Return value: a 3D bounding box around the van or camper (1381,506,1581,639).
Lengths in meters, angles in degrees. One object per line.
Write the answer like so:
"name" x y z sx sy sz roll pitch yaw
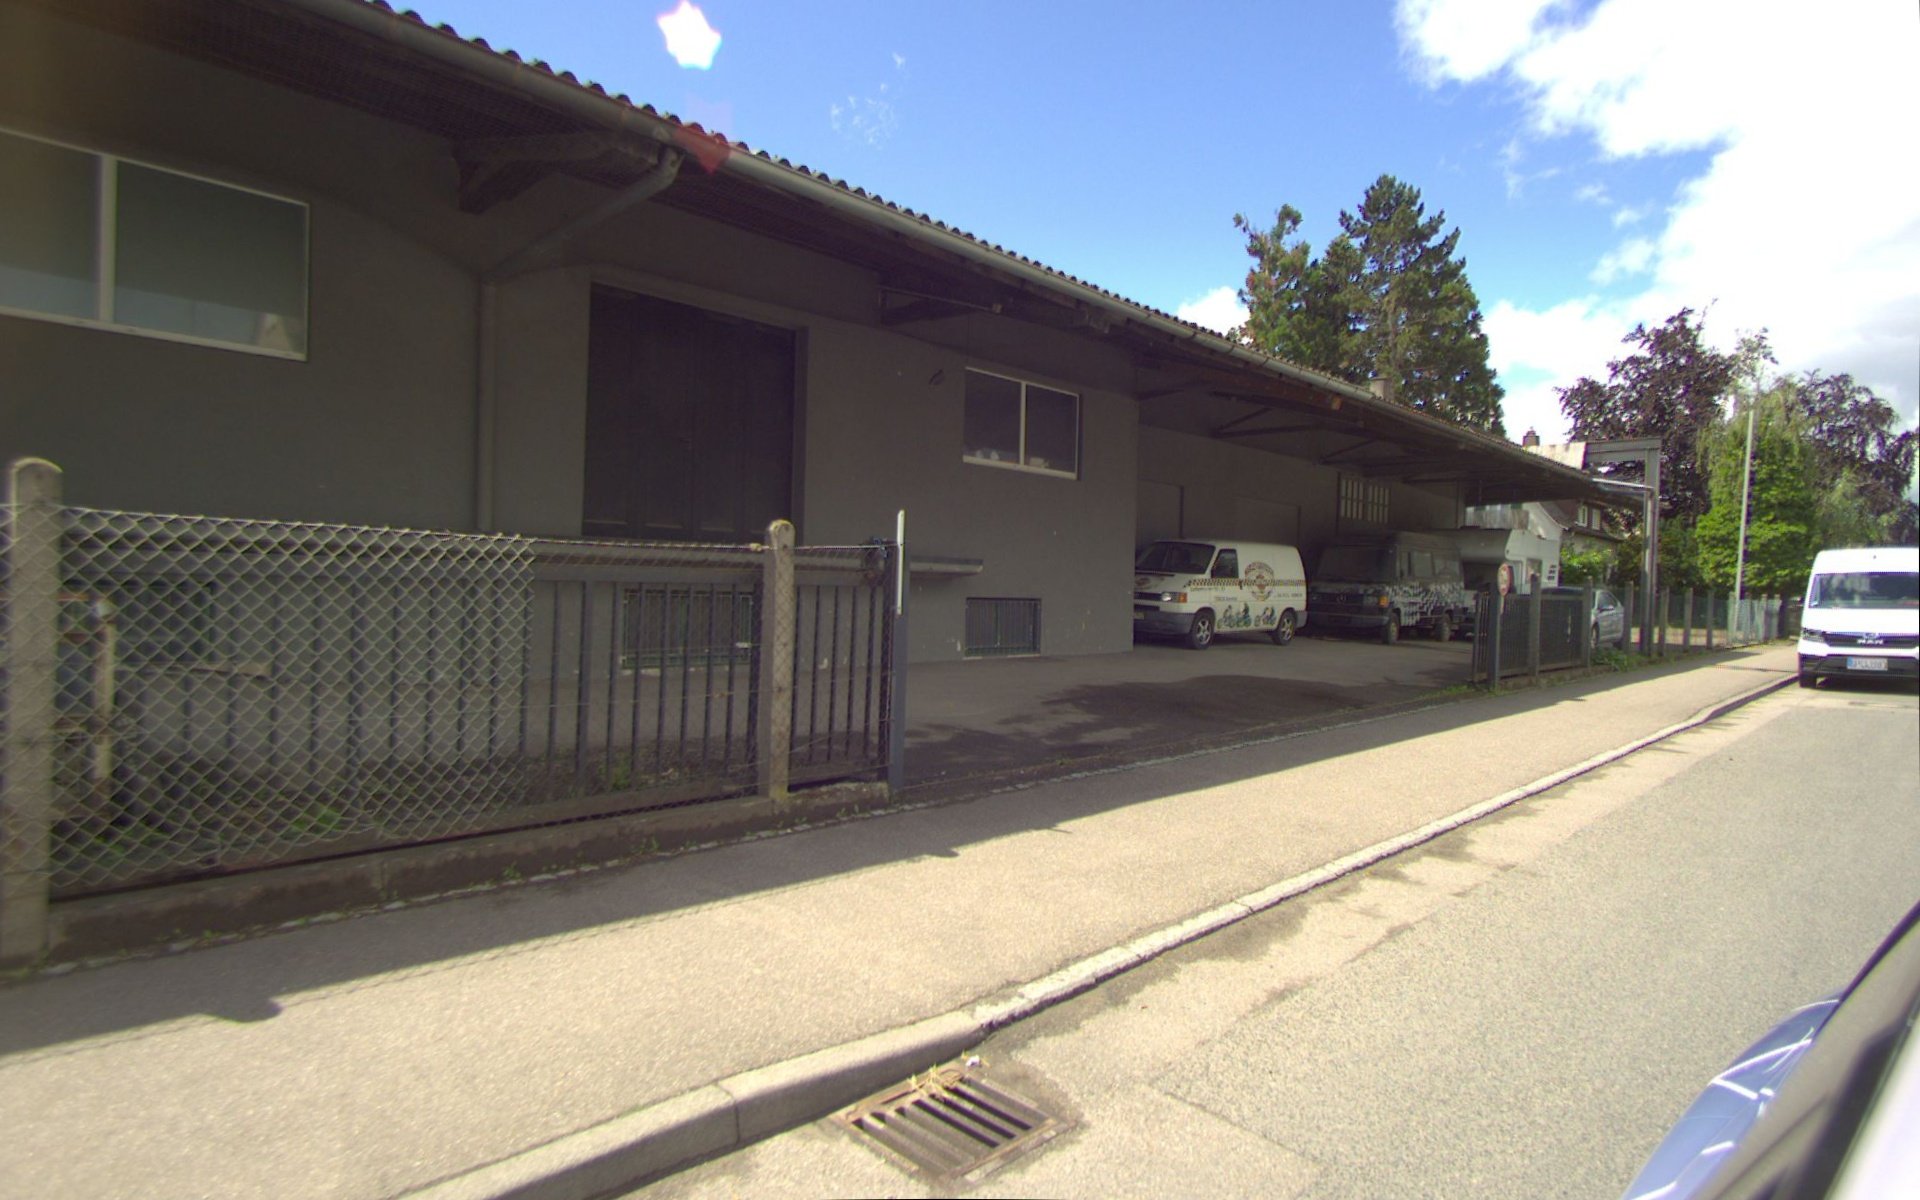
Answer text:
"van or camper" 14.106 -0.696 27.141 2.882 3.099 6.803 2 2 44

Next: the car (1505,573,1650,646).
"car" 14.524 0.209 23.672 4.845 1.508 1.766 1 1 -45

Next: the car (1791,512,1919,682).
"car" 17.400 -0.074 18.953 2.216 2.722 6.551 3 2 44

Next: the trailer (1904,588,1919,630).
"trailer" 44.468 0.410 46.083 4.686 1.846 1.995 0 0 -45

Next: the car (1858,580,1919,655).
"car" 26.244 0.458 27.961 1.905 1.909 5.303 0 0 44

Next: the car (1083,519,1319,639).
"car" 4.583 -0.344 18.772 4.773 1.934 1.995 1 1 -45

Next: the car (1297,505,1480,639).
"car" 9.915 -0.548 23.149 2.018 2.715 5.409 2 0 44
